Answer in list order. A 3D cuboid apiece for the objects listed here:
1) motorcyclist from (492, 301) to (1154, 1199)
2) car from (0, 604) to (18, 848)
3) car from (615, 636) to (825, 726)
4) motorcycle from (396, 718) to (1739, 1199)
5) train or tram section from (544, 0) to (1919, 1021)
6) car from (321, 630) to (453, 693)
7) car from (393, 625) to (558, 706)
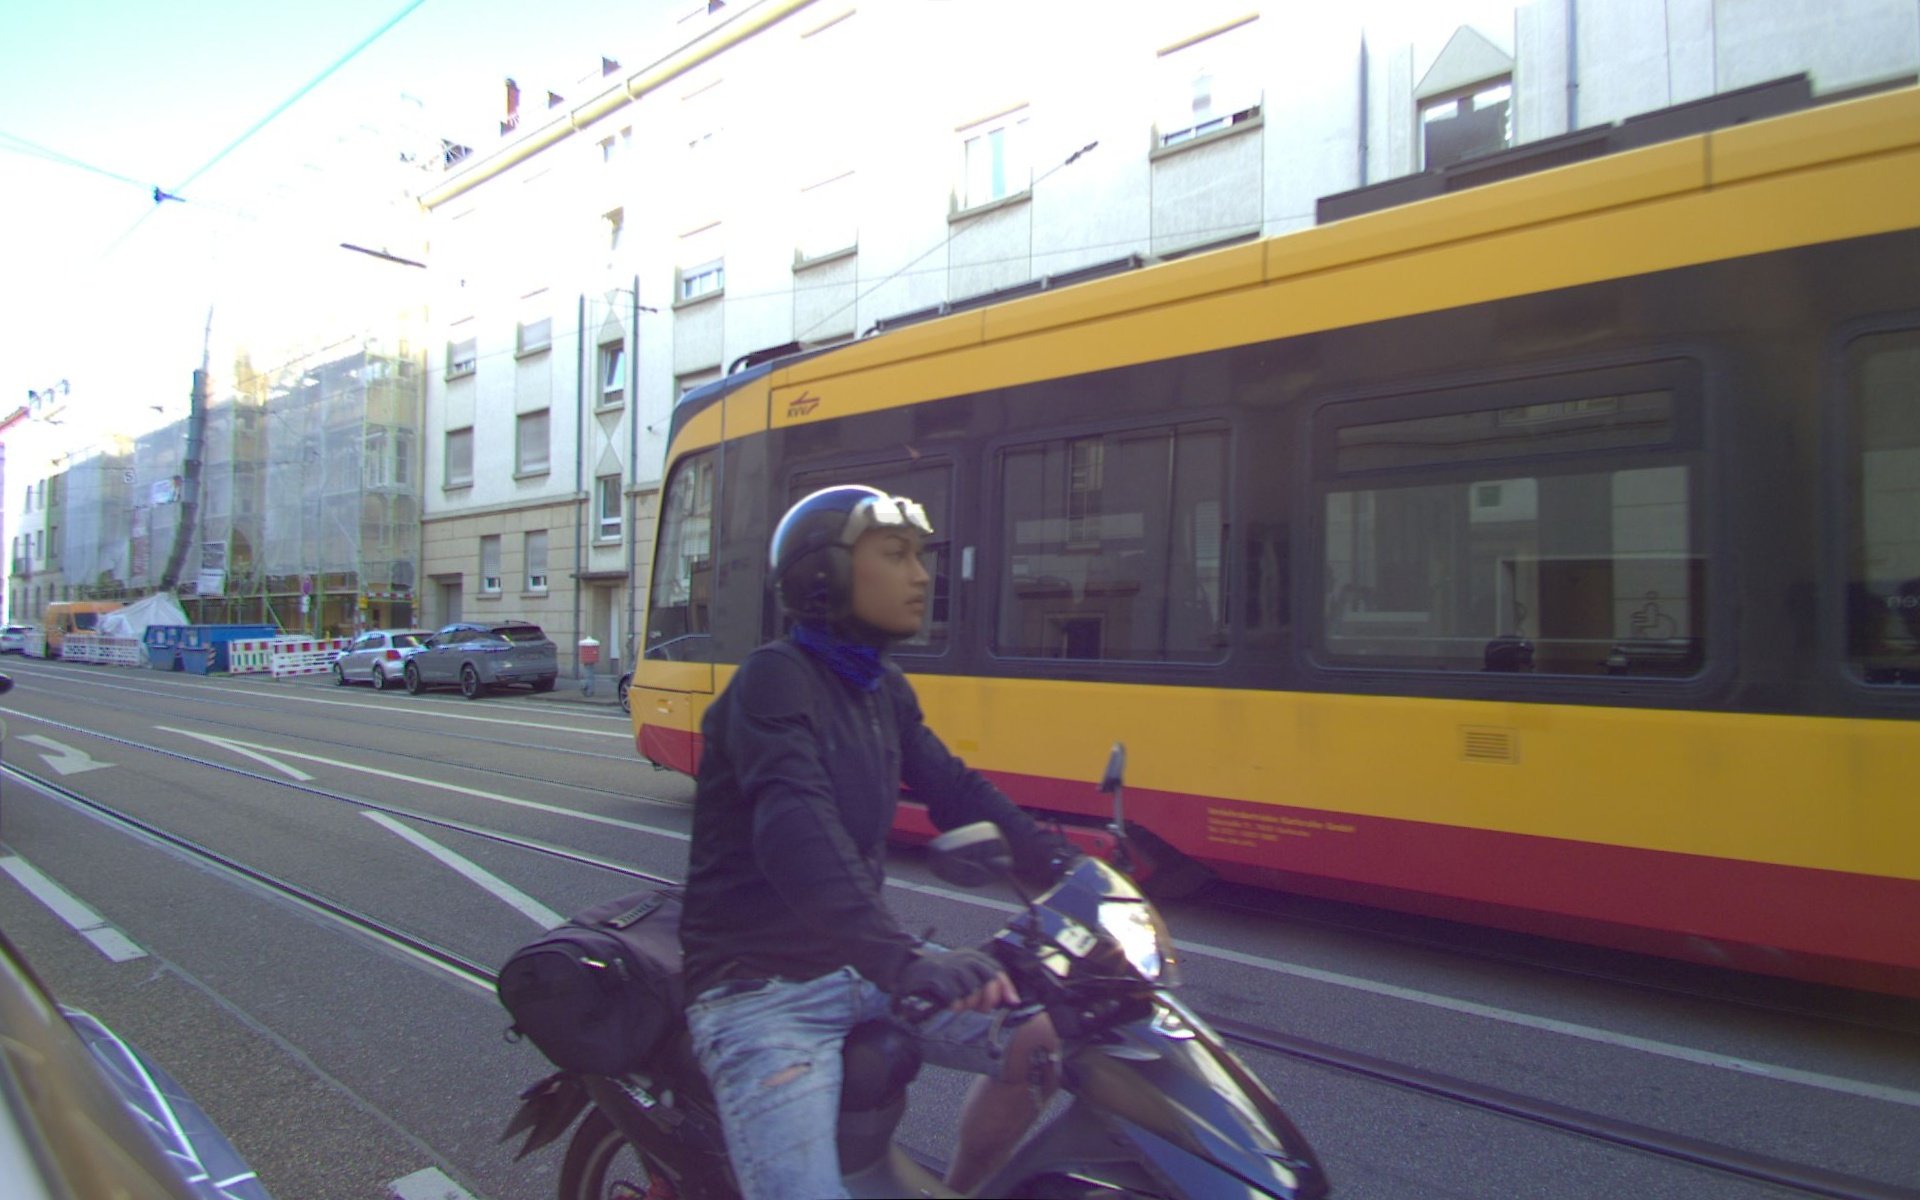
[{"bbox_3d":[-0.177,0.435,1.609,0.598,1.516,0.851,-1,0,41],"label":"motorcyclist"},{"bbox_3d":[-7.984,0.798,6.995,3.997,1.515,1.670,-1,-3,40],"label":"car"},{"bbox_3d":[-4.191,1.326,17.515,3.483,1.286,1.730,-1,0,37],"label":"car"},{"bbox_3d":[-0.141,0.876,1.454,1.980,1.228,0.532,-1,0,41],"label":"motorcycle"},{"bbox_3d":[2.719,-0.483,5.103,12.613,3.621,3.032,-1,-3,38],"label":"train or tram section"},{"bbox_3d":[-14.462,1.495,25.494,3.639,1.402,1.617,-1,0,37],"label":"car"},{"bbox_3d":[-10.887,1.385,22.640,4.108,1.603,1.691,-1,0,38],"label":"car"}]
